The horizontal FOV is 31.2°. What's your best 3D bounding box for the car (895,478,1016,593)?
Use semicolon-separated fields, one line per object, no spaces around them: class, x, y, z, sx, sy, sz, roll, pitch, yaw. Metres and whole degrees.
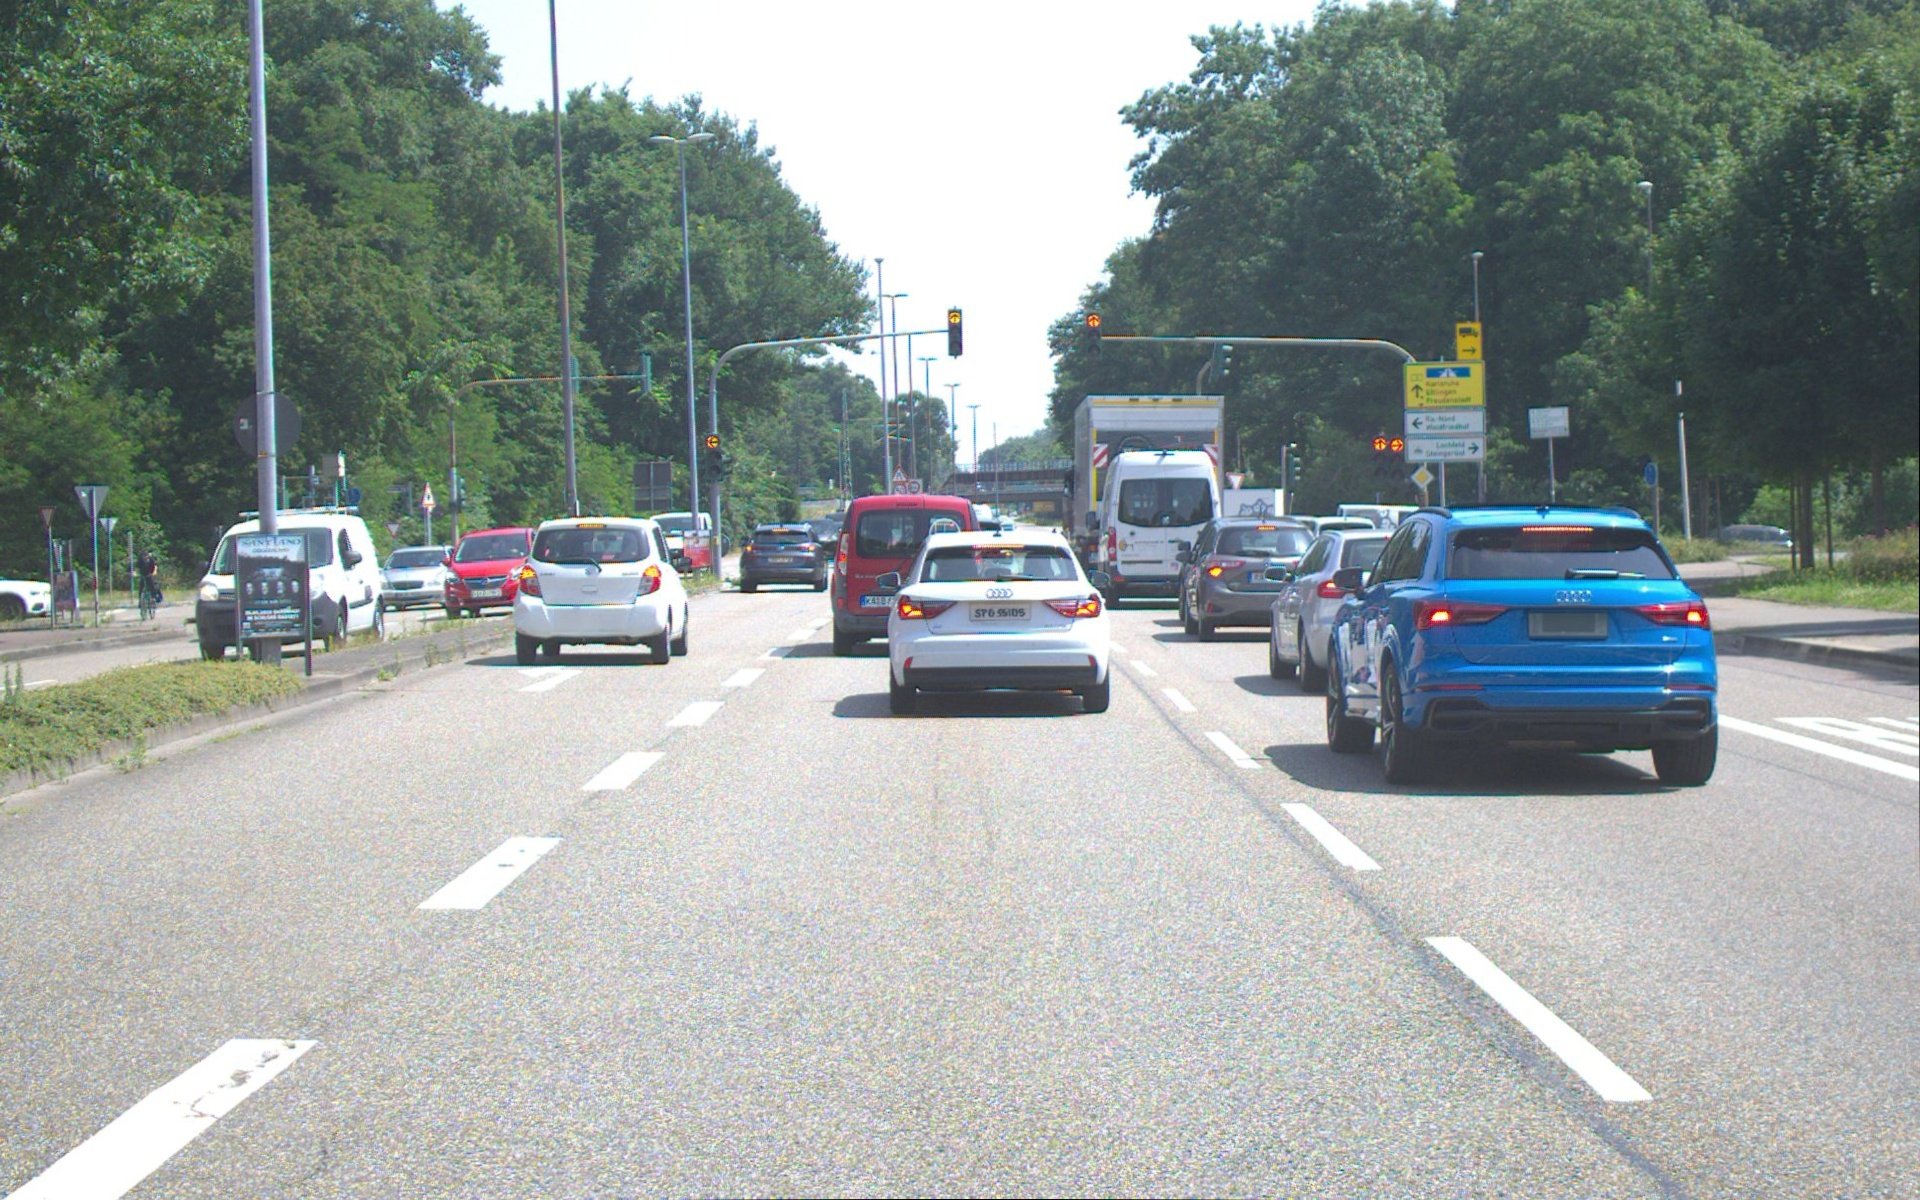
car;-0.098;-0.968;51.126;1.712;1.626;4.092;0;1;-1

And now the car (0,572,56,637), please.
car;-26.068;0.095;90.156;4.369;1.676;1.811;0;1;-7

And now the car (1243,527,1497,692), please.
car;3.611;0.040;30.889;1.712;1.357;4.092;1;1;-1

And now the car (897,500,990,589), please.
car;-0.334;-1.068;65.571;1.712;1.626;4.092;0;1;-1

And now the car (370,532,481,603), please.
car;-11.931;-0.744;77.011;1.777;1.399;4.360;-4;1;-1

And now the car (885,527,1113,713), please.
car;0.259;0.109;28.040;1.712;1.381;4.092;0;1;-1

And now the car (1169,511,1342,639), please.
car;3.691;-0.348;43.562;1.712;1.473;4.092;2;1;-1

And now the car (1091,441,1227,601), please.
car;3.394;-1.369;59.479;2.031;2.635;4.845;0;1;0

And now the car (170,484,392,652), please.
car;-8.553;-0.447;43.644;1.852;1.899;4.426;-4;2;-1

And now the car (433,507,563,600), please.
car;-8.539;-0.883;63.838;1.749;1.564;4.153;-4;1;0

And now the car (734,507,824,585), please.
car;-3.881;-1.177;74.115;1.774;1.635;4.037;0;1;-1

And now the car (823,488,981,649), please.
car;-0.666;-0.386;39.522;1.712;1.742;4.092;0;1;-1

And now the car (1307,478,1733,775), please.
car;3.266;0.089;20.873;1.837;1.590;4.400;-1;1;0

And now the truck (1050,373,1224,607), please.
truck;3.493;-2.223;70.742;3.088;4.418;11.580;0;1;1

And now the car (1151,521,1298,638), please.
car;3.724;-0.327;48.998;1.712;1.587;4.092;0;1;-1

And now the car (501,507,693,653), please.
car;-3.884;-0.256;37.344;1.712;1.487;4.092;0;1;-1

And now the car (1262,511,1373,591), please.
car;7.130;-0.993;68.827;1.712;1.541;4.092;0;1;-1

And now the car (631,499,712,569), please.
car;-8.742;-2.024;104.611;1.993;1.939;4.909;-3;1;-1
